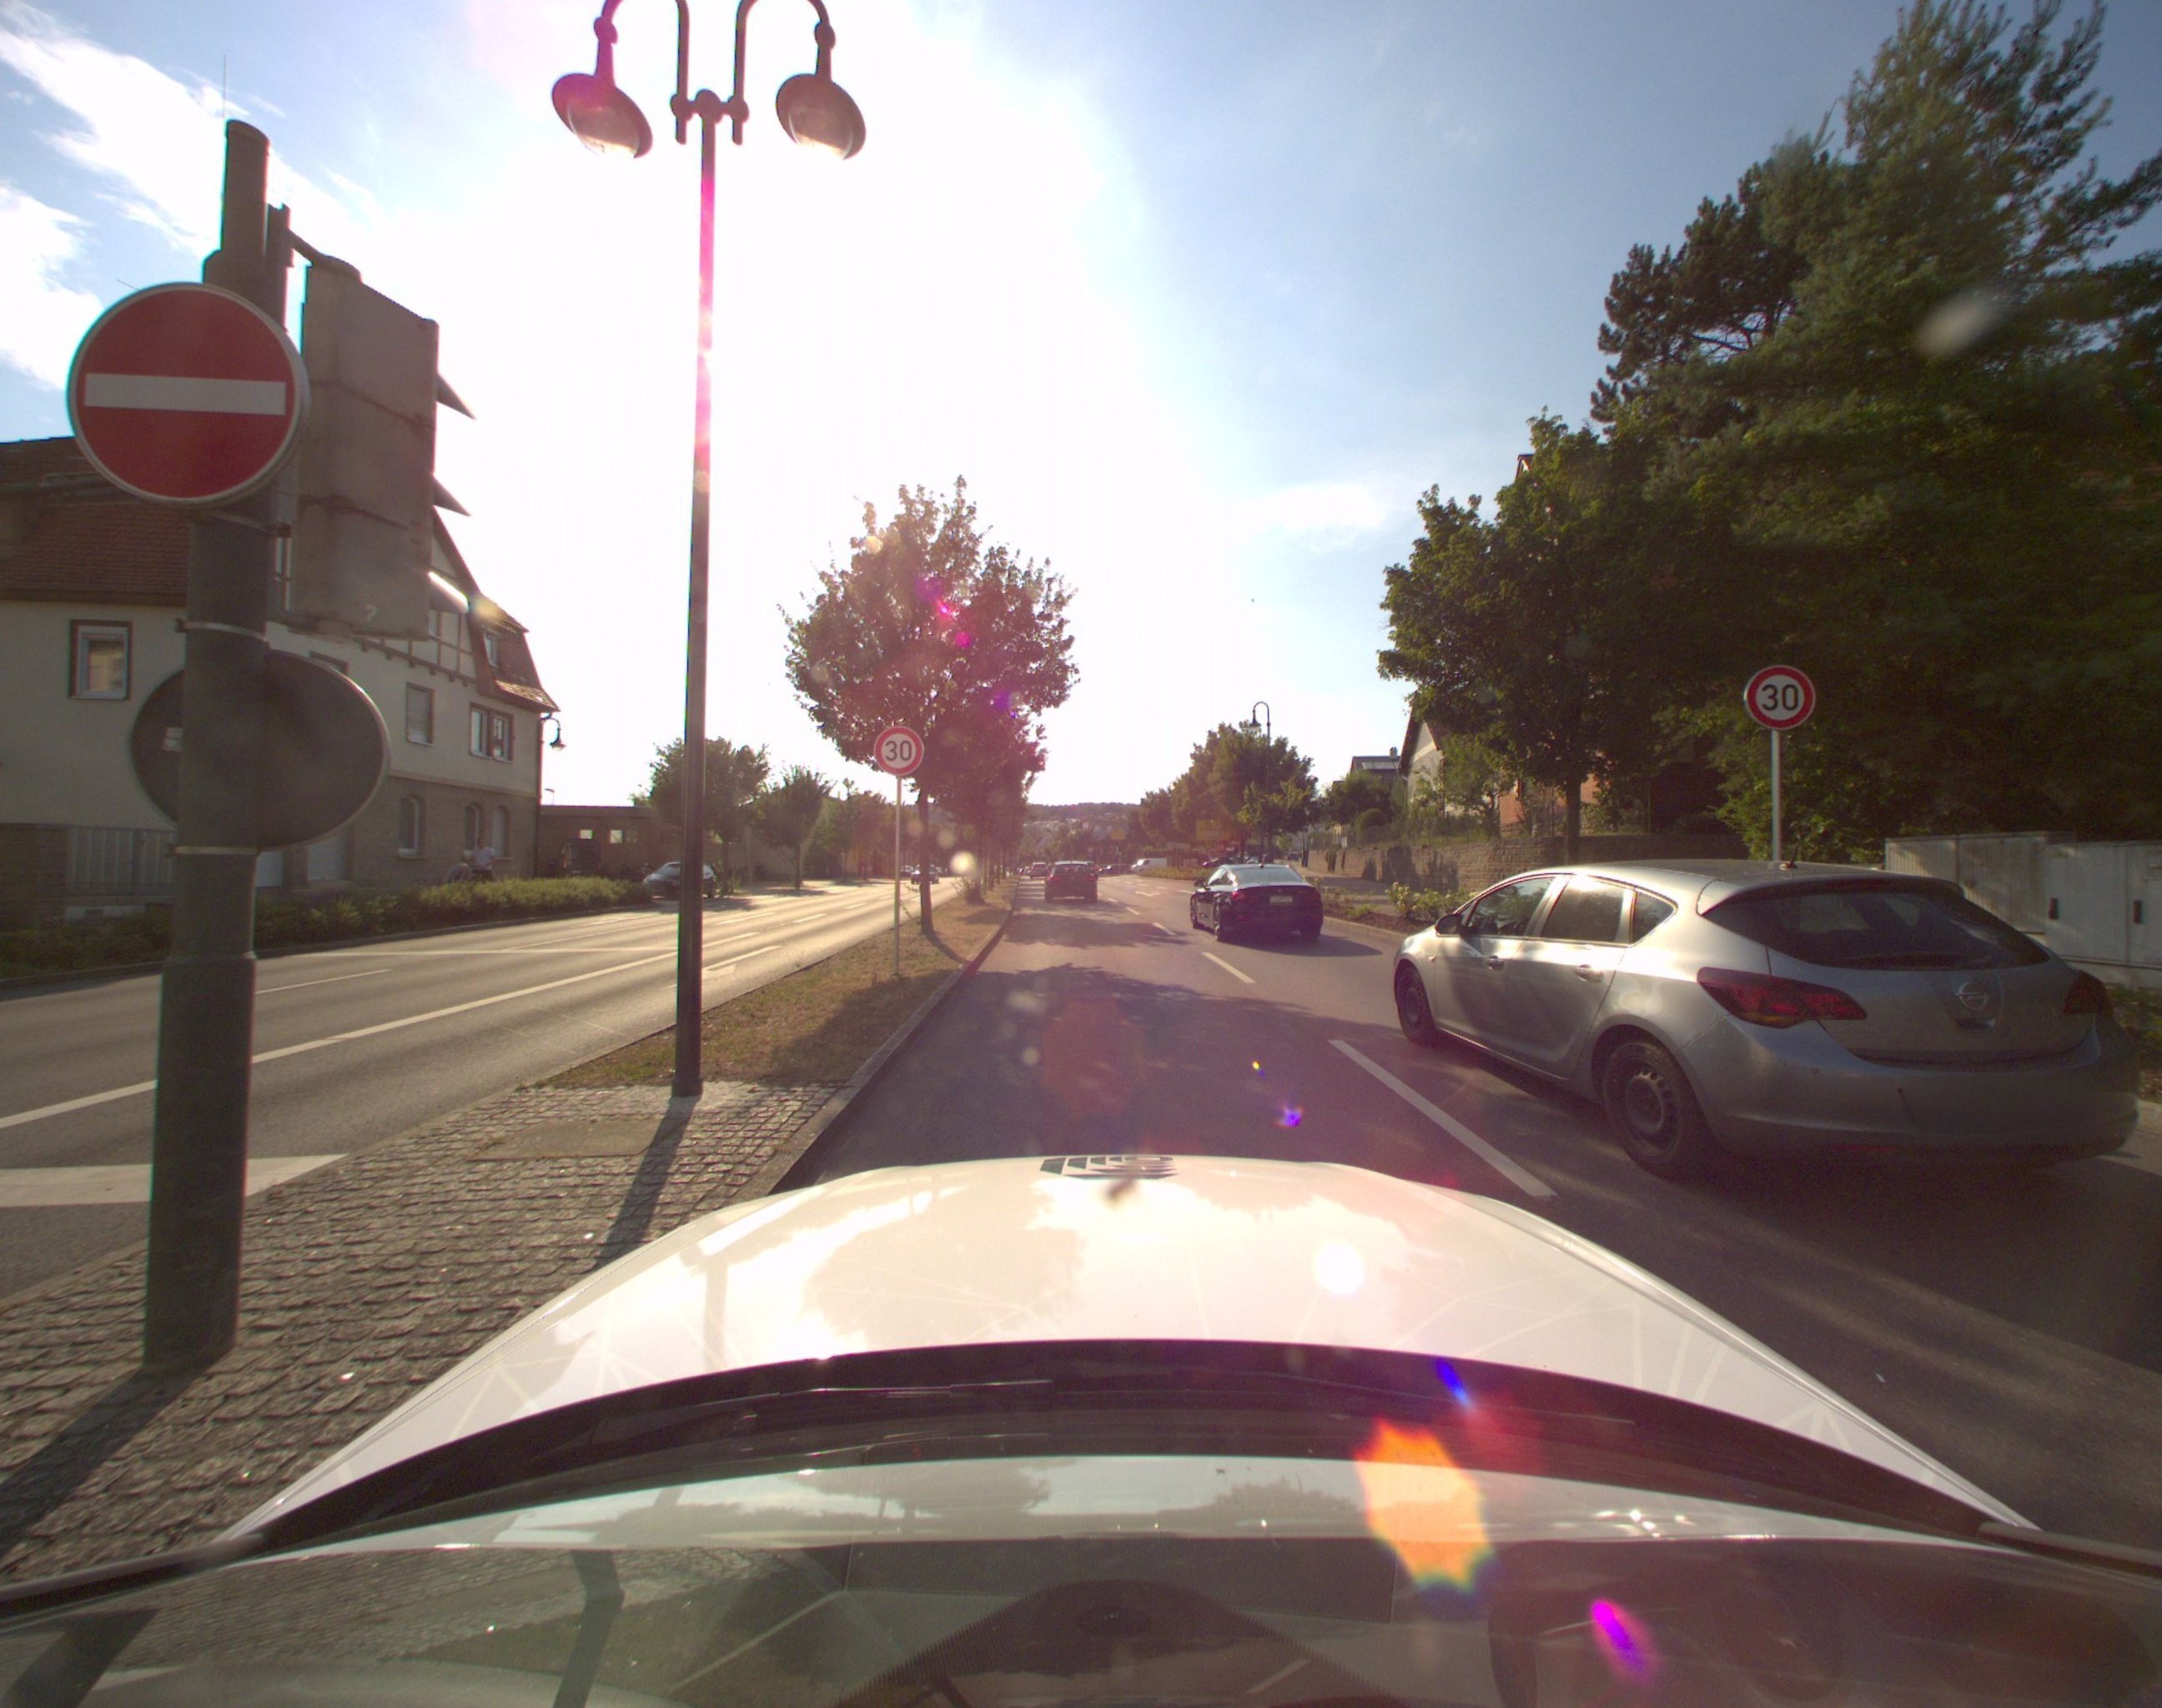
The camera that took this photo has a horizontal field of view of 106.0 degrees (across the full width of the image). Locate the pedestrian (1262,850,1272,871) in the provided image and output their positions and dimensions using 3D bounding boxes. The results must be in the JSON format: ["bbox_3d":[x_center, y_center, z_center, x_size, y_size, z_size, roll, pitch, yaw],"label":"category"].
[{"bbox_3d":[15.544,0.523,68.115,0.692,1.703,0.951,-1,-1,4],"label":"pedestrian"}]

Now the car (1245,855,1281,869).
[{"bbox_3d":[26.072,1.131,116.481,4.626,1.829,1.995,-1,0,-7],"label":"car"}]

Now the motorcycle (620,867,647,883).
[{"bbox_3d":[-31.341,1.447,57.051,0.511,1.107,1.647,-1,0,28],"label":"motorcycle"}]

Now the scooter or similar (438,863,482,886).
[{"bbox_3d":[-16.783,0.548,22.031,0.443,0.582,1.042,-1,0,-5],"label":"scooter or similar"}]

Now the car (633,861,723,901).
[{"bbox_3d":[-16.266,1.047,33.108,1.752,1.454,4.127,3,-1,-4],"label":"car"}]

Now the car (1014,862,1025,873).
[{"bbox_3d":[-11.916,2.556,157.558,1.767,2.013,4.000,-1,0,0],"label":"car"}]

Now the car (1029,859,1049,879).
[{"bbox_3d":[-4.049,1.391,77.769,1.753,1.769,3.964,-1,0,-4],"label":"car"}]

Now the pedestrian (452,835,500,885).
[{"bbox_3d":[-17.043,0.162,22.961,0.811,1.394,0.705,-1,0,-5],"label":"pedestrian"}]

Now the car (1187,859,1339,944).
[{"bbox_3d":[3.302,0.811,15.667,1.914,1.364,4.351,-1,-1,0],"label":"car"}]

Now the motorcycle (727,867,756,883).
[{"bbox_3d":[-23.970,1.493,57.518,0.510,1.069,1.882,-1,0,32],"label":"motorcycle"}]

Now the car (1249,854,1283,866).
[{"bbox_3d":[28.354,0.938,124.672,4.626,1.829,1.995,-1,0,-7],"label":"car"}]

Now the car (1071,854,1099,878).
[{"bbox_3d":[0.267,0.944,65.826,1.922,1.769,4.447,-1,0,-4],"label":"car"}]

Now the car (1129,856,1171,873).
[{"bbox_3d":[9.025,1.355,106.217,5.113,2.130,2.137,-1,0,-13],"label":"car"}]

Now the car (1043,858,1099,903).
[{"bbox_3d":[-0.284,0.886,29.362,1.714,1.490,4.356,0,0,3],"label":"car"}]

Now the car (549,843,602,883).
[{"bbox_3d":[-32.131,0.555,51.714,2.053,2.336,4.269,4,-1,-42],"label":"car"}]

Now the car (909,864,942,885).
[{"bbox_3d":[-11.223,1.457,59.085,1.752,1.361,4.480,-1,0,-3],"label":"car"}]

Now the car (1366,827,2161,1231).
[{"bbox_3d":[3.433,0.646,5.235,1.715,1.490,4.307,-1,0,1],"label":"car"}]
